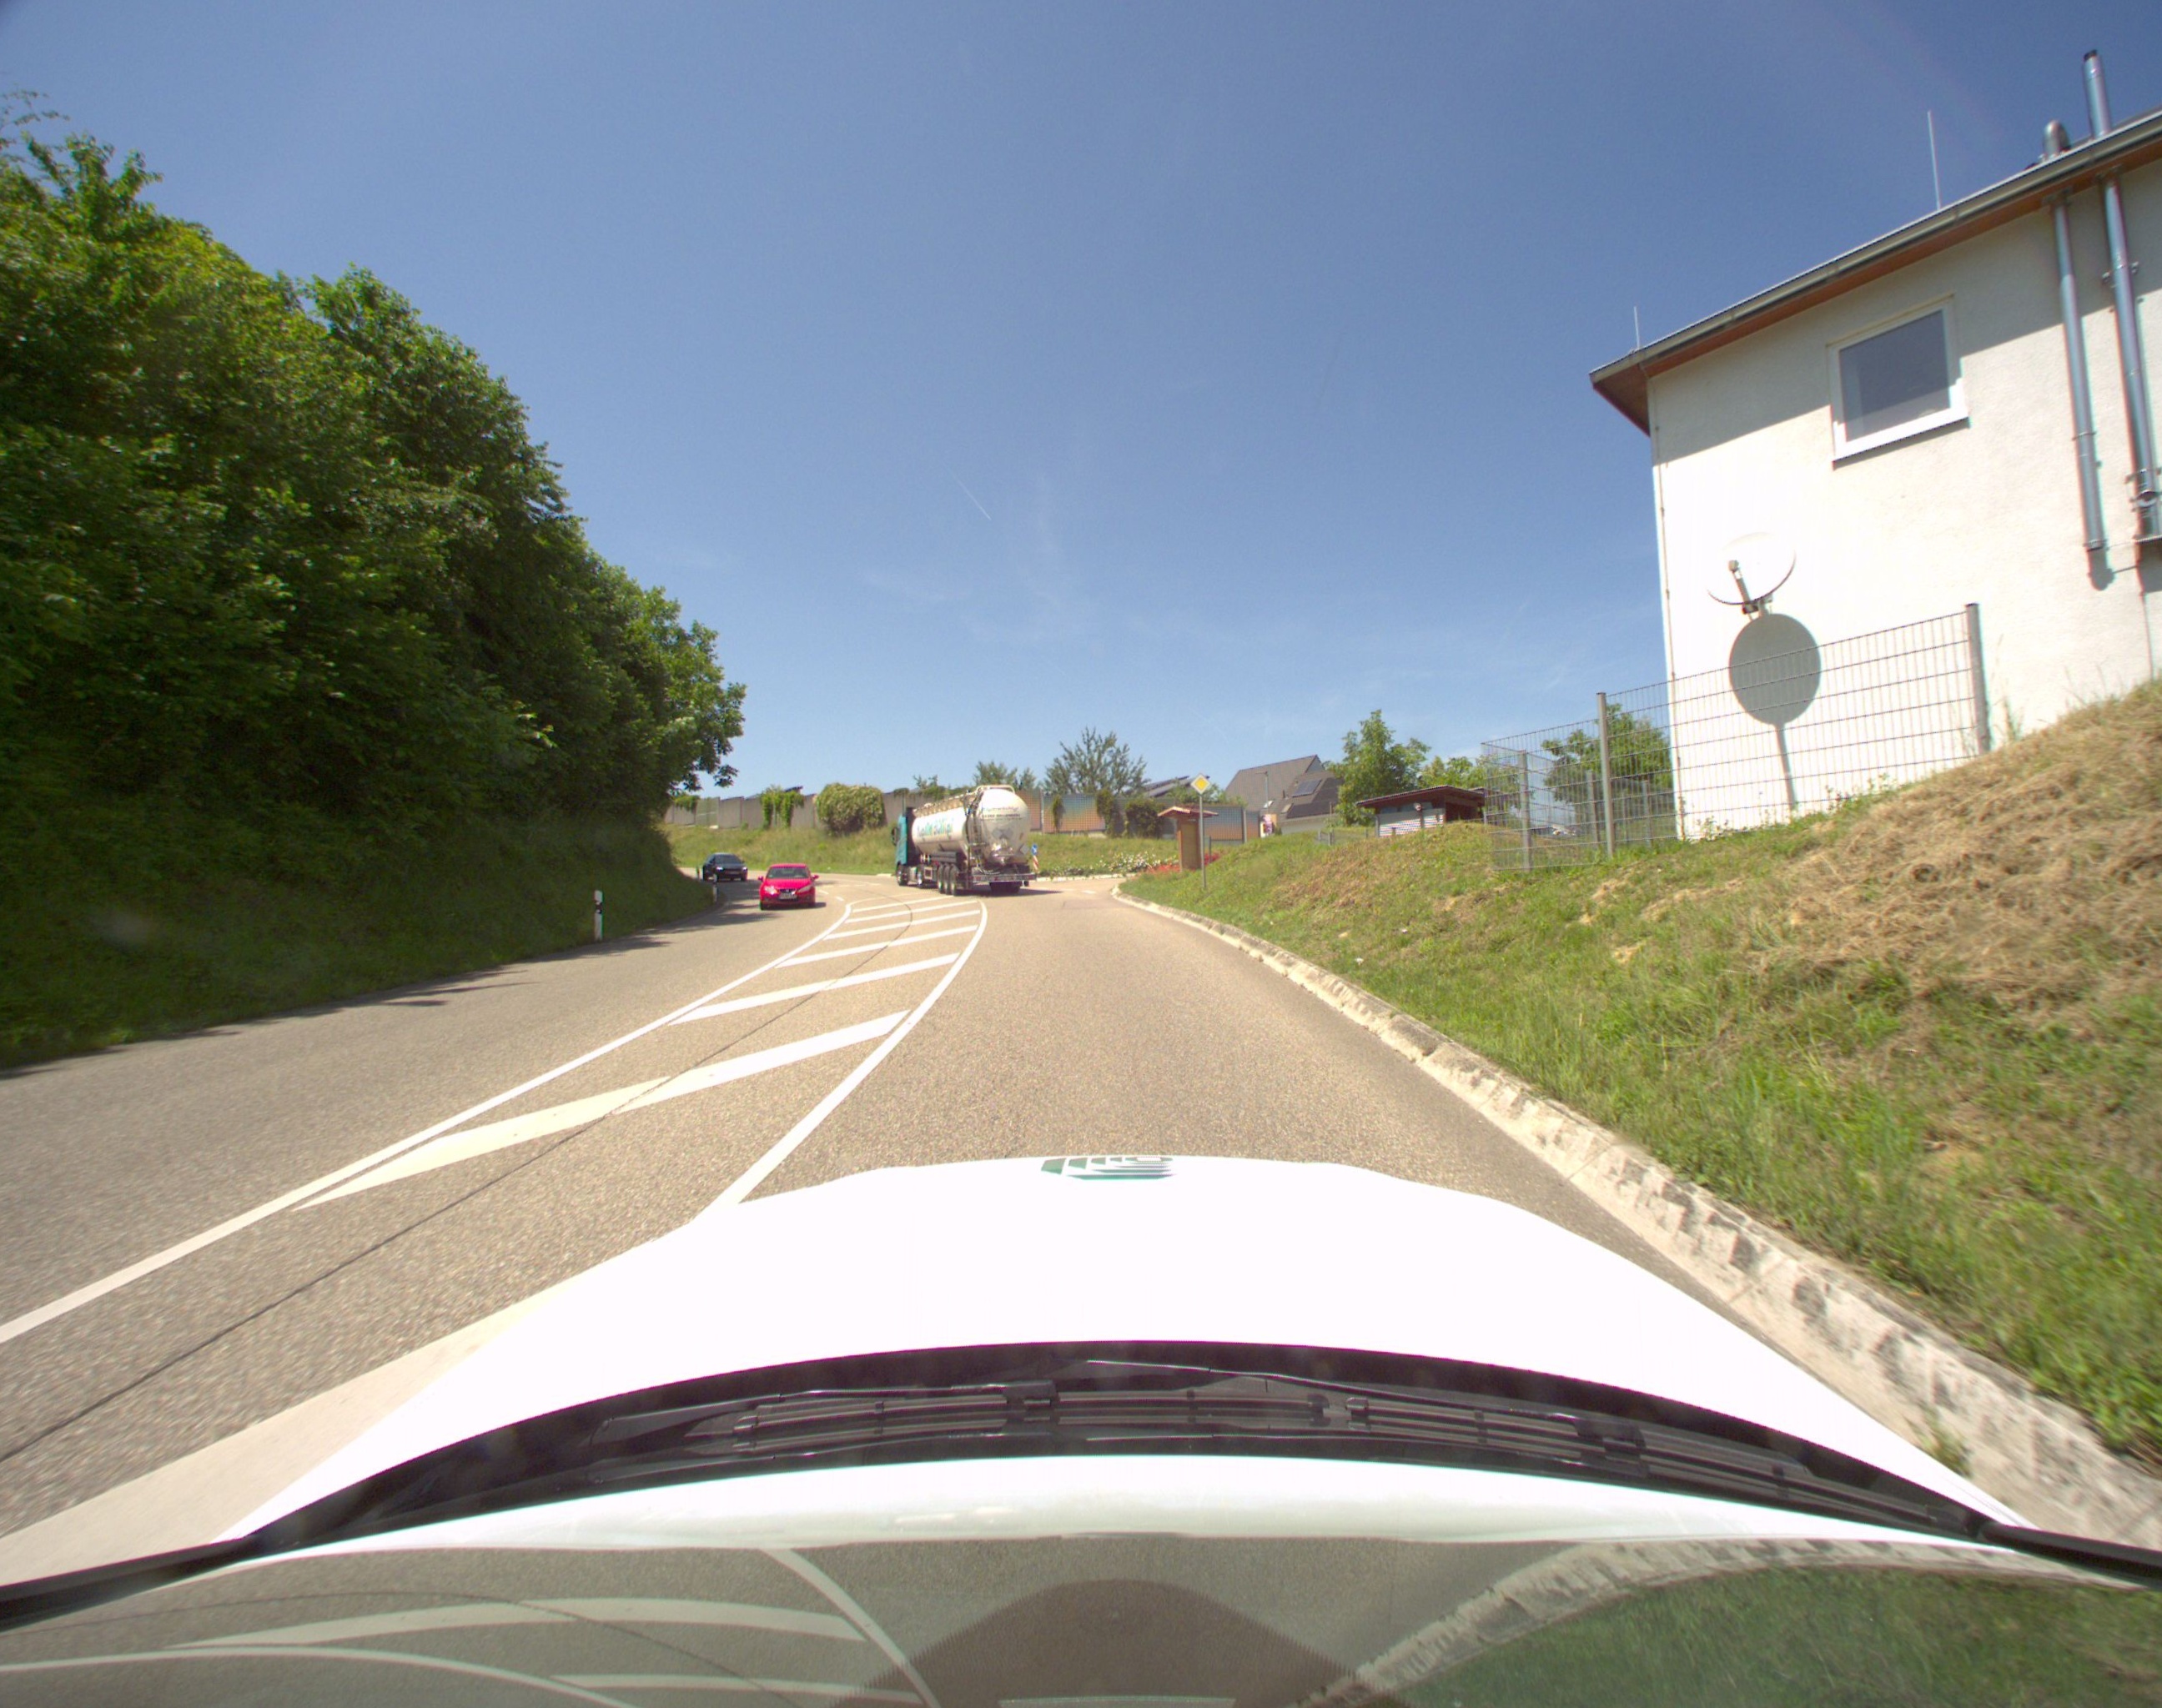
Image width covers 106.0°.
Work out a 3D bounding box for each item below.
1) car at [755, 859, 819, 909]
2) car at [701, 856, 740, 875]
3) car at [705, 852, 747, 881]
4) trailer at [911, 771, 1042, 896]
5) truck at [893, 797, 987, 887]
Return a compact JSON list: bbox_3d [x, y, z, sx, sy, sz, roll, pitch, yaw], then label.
[{"bbox_3d":[-9.734,0.945,27.188,1.754,1.448,3.977,-2,0,-17],"label":"car"},{"bbox_3d":[-30.385,0.951,68.617,3.593,1.509,1.662,0,-2,44],"label":"car"},{"bbox_3d":[-21.187,0.706,48.505,1.802,1.604,4.140,-2,2,-30],"label":"car"},{"bbox_3d":[-4.697,-0.716,33.457,2.671,4.188,11.822,-1,0,-20],"label":"trailer"},{"bbox_3d":[-6.952,-0.530,39.117,2.739,3.929,7.206,-2,0,-24],"label":"truck"}]
